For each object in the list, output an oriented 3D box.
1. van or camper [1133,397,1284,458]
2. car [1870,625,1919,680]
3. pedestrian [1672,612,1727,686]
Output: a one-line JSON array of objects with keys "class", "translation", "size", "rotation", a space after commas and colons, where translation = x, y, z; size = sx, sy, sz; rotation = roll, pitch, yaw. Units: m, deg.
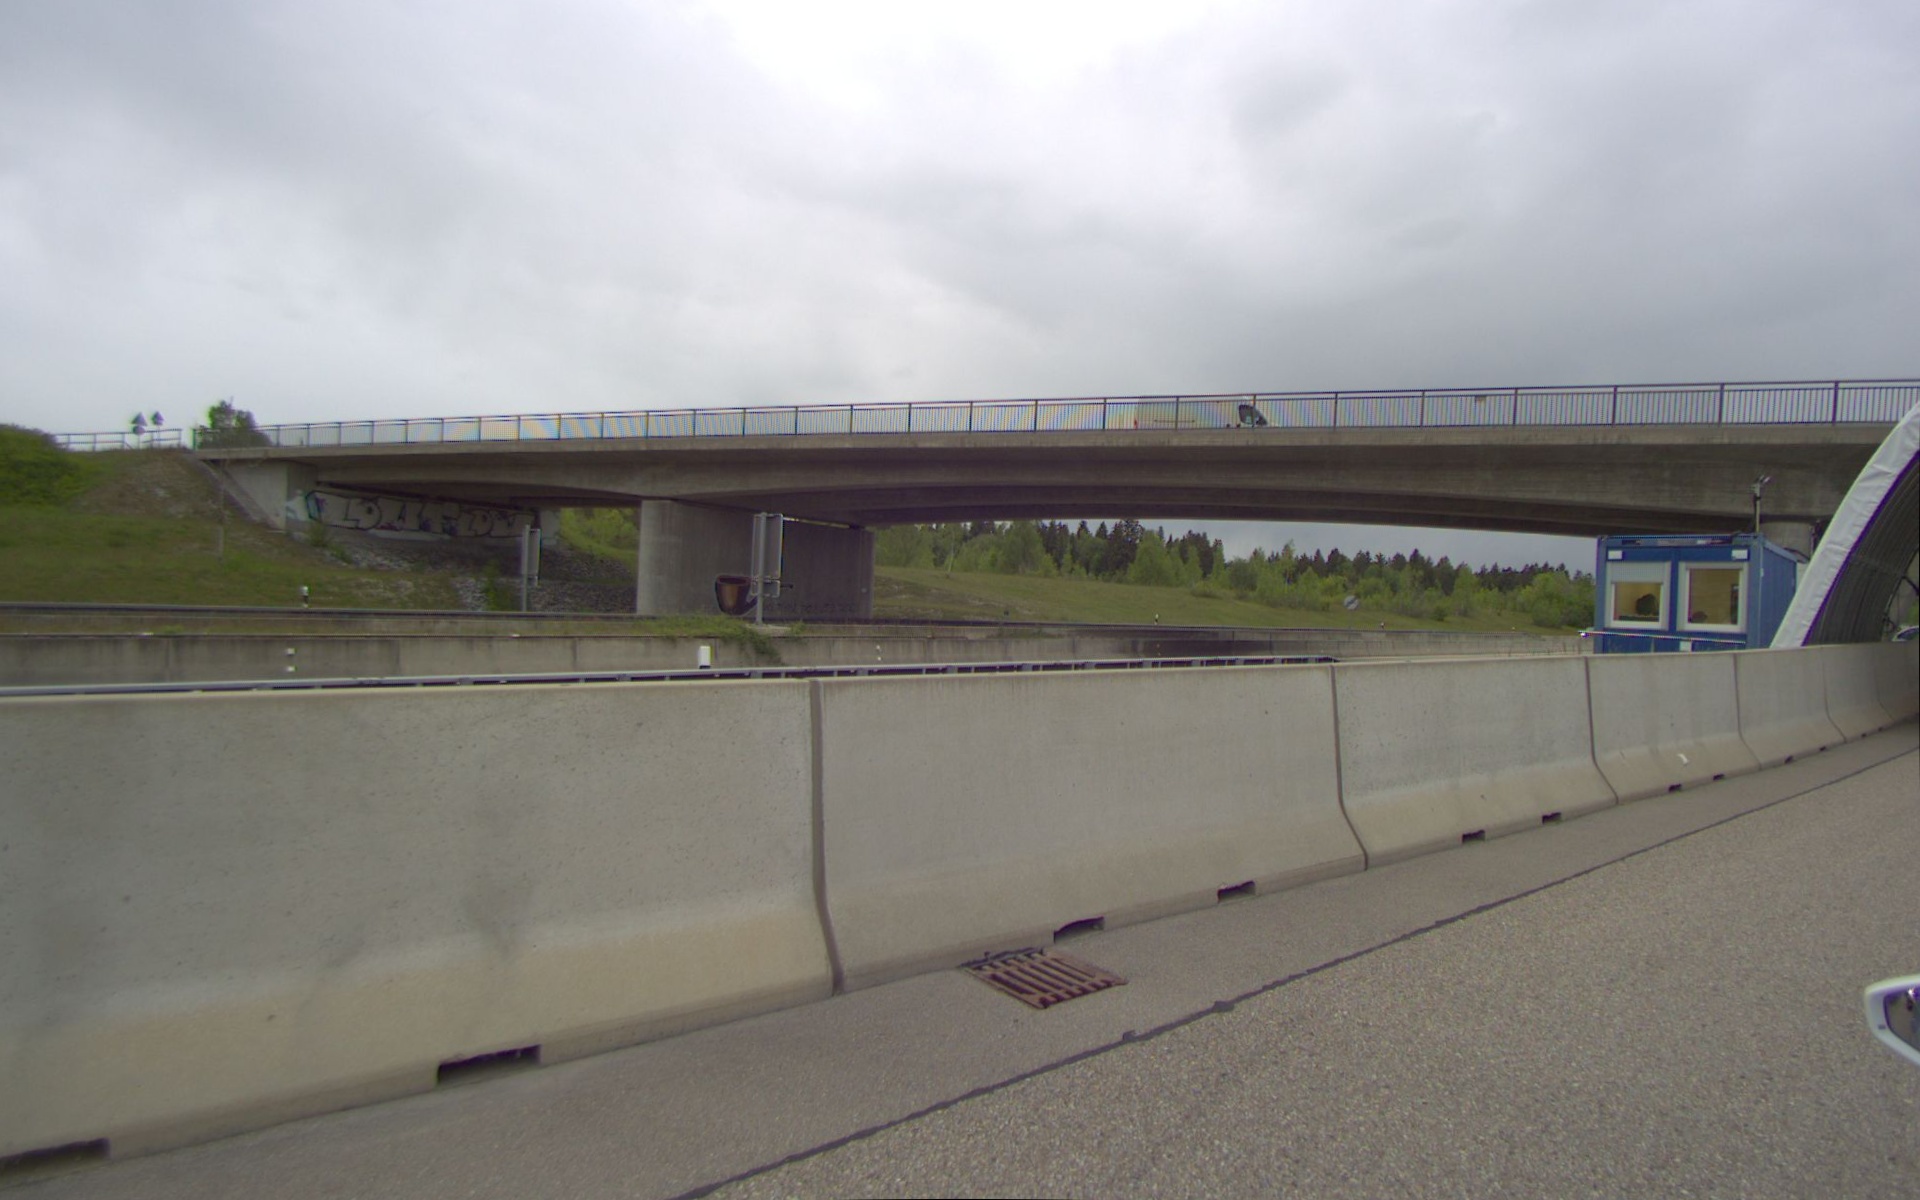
[{"class": "van or camper", "translation": [9.473, -6.535, 38.325], "size": [5.347, 1.793, 1.896], "rotation": [2, 0, 22]}, {"class": "car", "translation": [37.092, 1.988, 37.133], "size": [1.814, 2.040, 4.797], "rotation": [2, -1, -22]}, {"class": "pedestrian", "translation": [14.174, 0.939, 19.248], "size": [0.618, 1.391, 0.609], "rotation": [2, -1, -21]}]
